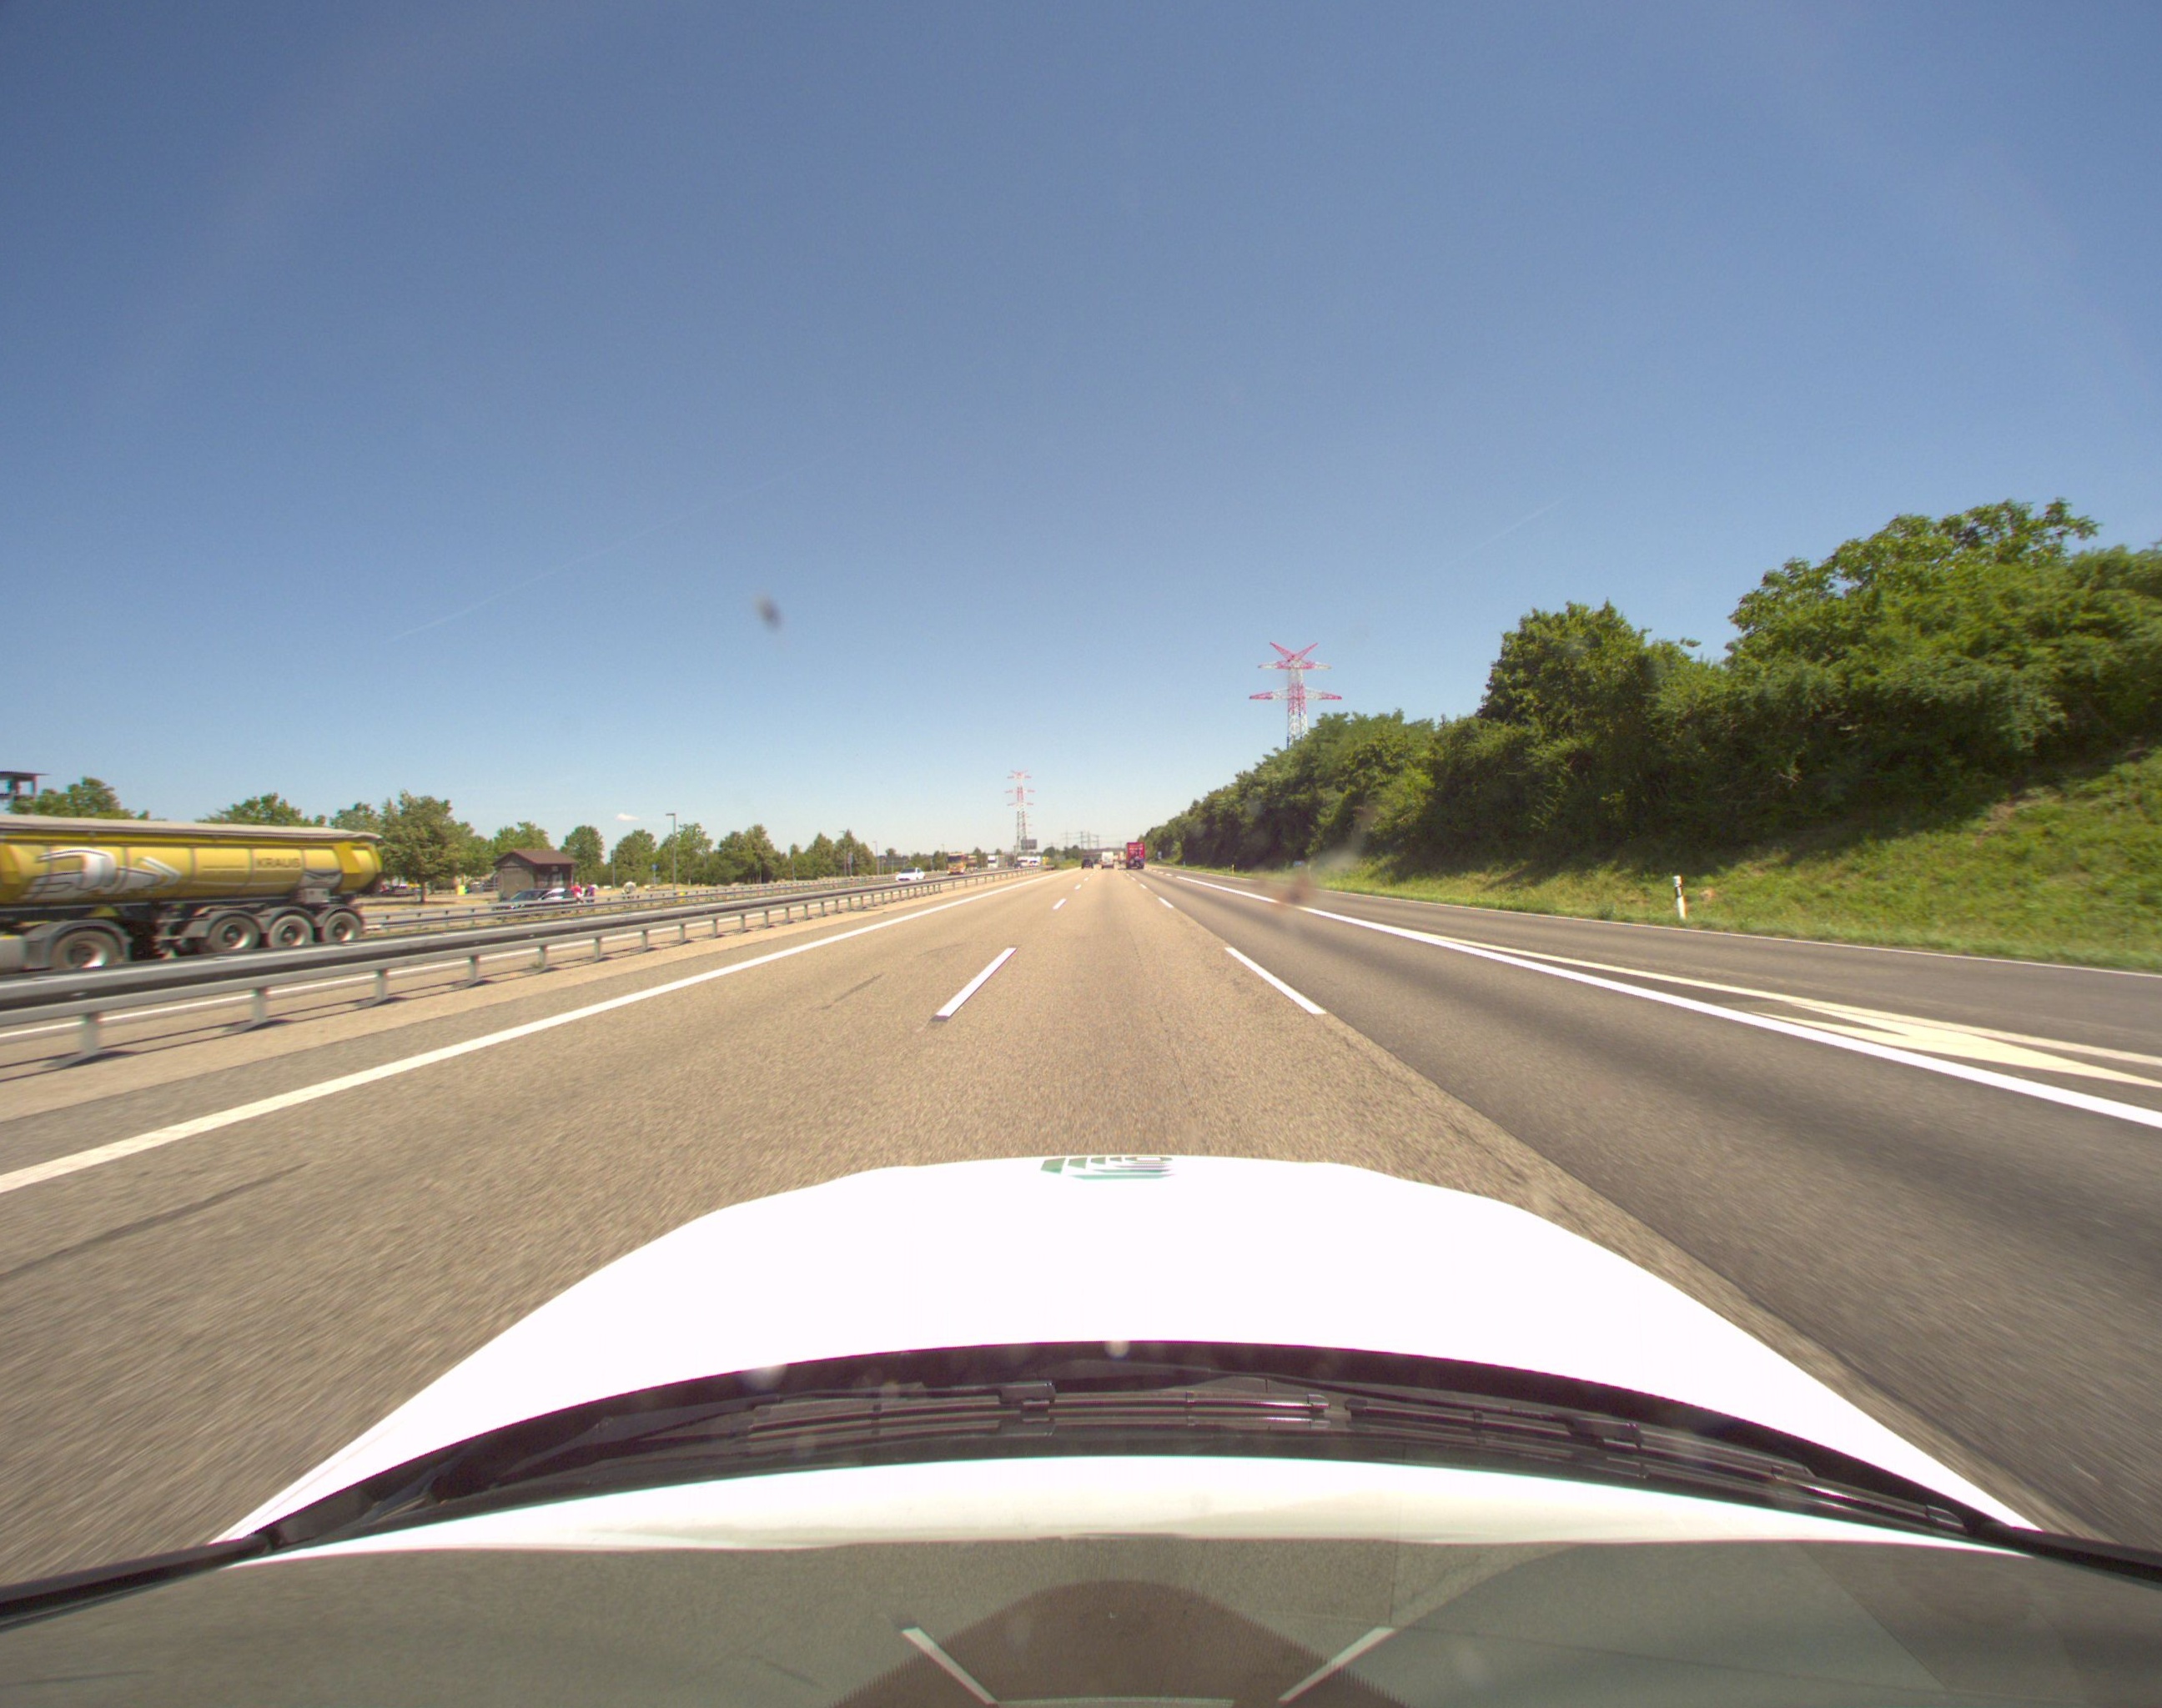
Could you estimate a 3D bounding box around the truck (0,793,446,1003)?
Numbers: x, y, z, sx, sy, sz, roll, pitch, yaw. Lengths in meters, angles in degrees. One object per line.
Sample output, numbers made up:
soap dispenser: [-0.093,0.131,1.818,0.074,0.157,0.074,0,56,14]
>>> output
truck: [-21.051,0.875,17.867,3.159,3.810,13.536,-2,0,2]

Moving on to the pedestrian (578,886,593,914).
pedestrian: [-27.272,2.518,44.839,0.495,1.503,0.501,-1,0,10]

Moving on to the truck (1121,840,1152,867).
truck: [8.550,-0.051,127.259,4.315,3.941,16.084,-1,0,2]

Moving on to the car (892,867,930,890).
car: [-14.984,2.133,71.962,2.045,1.842,5.474,-2,-1,1]

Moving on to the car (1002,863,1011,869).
car: [-20.213,3.215,221.087,1.809,1.390,3.904,-2,-1,1]

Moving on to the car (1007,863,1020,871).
car: [-12.139,2.324,147.161,1.809,1.390,3.904,-2,-1,1]

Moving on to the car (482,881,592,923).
car: [-28.813,2.490,43.440,2.045,1.842,5.474,-2,-1,1]

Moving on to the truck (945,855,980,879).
truck: [-17.179,1.899,119.165,2.707,3.259,12.393,-2,-1,2]

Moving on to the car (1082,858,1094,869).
car: [1.212,1.519,135.633,1.986,1.750,4.001,-1,0,1]

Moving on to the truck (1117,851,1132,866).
truck: [13.372,1.362,251.516,4.315,4.524,16.084,-1,0,2]

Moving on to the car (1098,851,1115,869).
car: [4.189,0.990,132.765,2.611,2.759,6.098,-1,0,1]

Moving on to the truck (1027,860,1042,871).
truck: [-11.096,2.698,193.896,2.707,2.421,8.110,-2,-1,2]

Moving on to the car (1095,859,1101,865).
car: [4.996,2.325,241.629,1.741,1.634,4.005,-1,0,1]

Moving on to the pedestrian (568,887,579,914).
pedestrian: [-27.552,2.519,44.208,0.502,1.422,0.495,0,-1,-32]

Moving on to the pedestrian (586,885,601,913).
pedestrian: [-27.206,2.519,45.466,0.495,1.503,0.501,-1,0,10]
